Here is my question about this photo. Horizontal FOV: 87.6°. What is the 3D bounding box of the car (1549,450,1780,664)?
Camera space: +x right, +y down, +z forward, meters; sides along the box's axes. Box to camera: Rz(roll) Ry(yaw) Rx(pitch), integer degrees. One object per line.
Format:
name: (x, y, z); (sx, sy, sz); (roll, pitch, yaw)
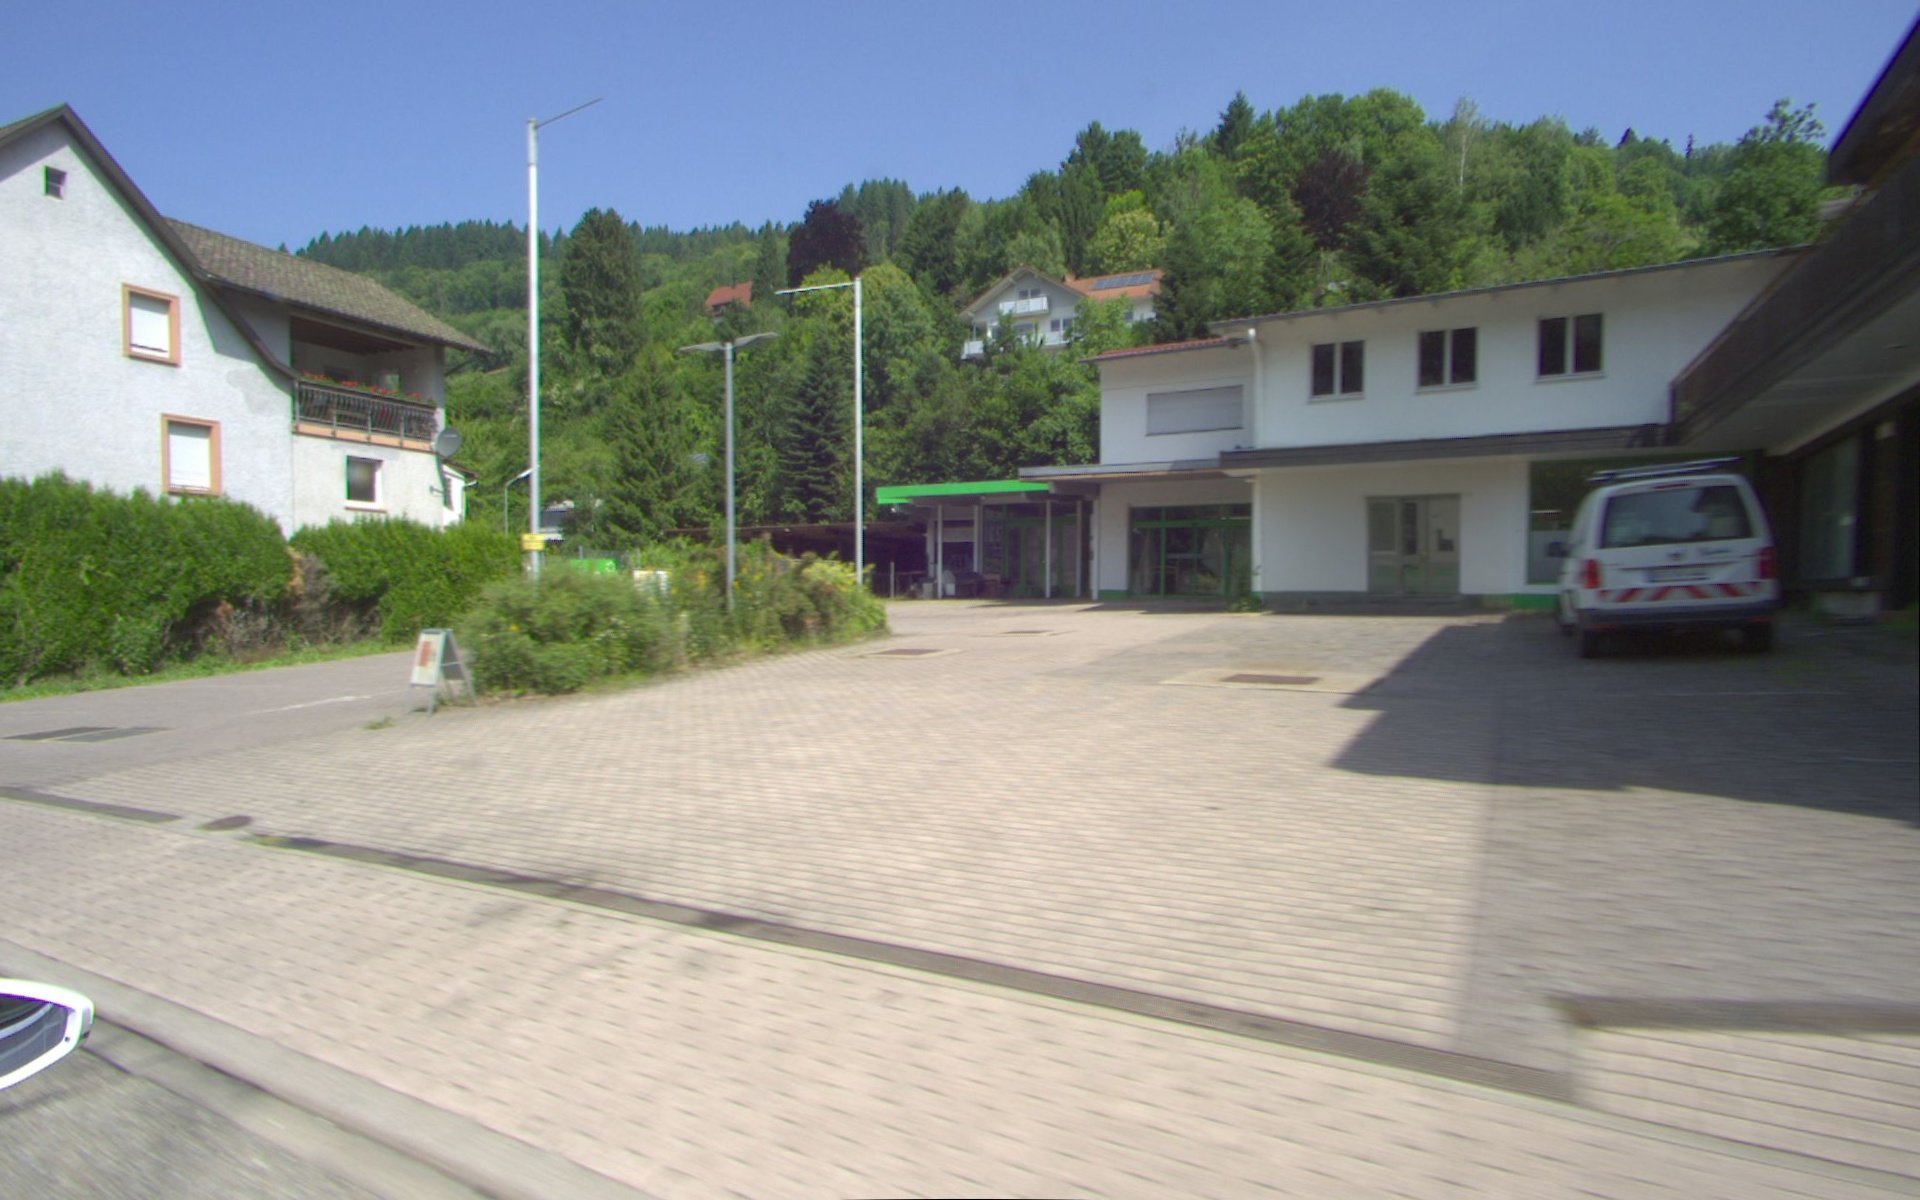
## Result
car: (7.968, -0.550, 11.665); (1.611, 2.012, 3.999); (-2, 4, 27)
